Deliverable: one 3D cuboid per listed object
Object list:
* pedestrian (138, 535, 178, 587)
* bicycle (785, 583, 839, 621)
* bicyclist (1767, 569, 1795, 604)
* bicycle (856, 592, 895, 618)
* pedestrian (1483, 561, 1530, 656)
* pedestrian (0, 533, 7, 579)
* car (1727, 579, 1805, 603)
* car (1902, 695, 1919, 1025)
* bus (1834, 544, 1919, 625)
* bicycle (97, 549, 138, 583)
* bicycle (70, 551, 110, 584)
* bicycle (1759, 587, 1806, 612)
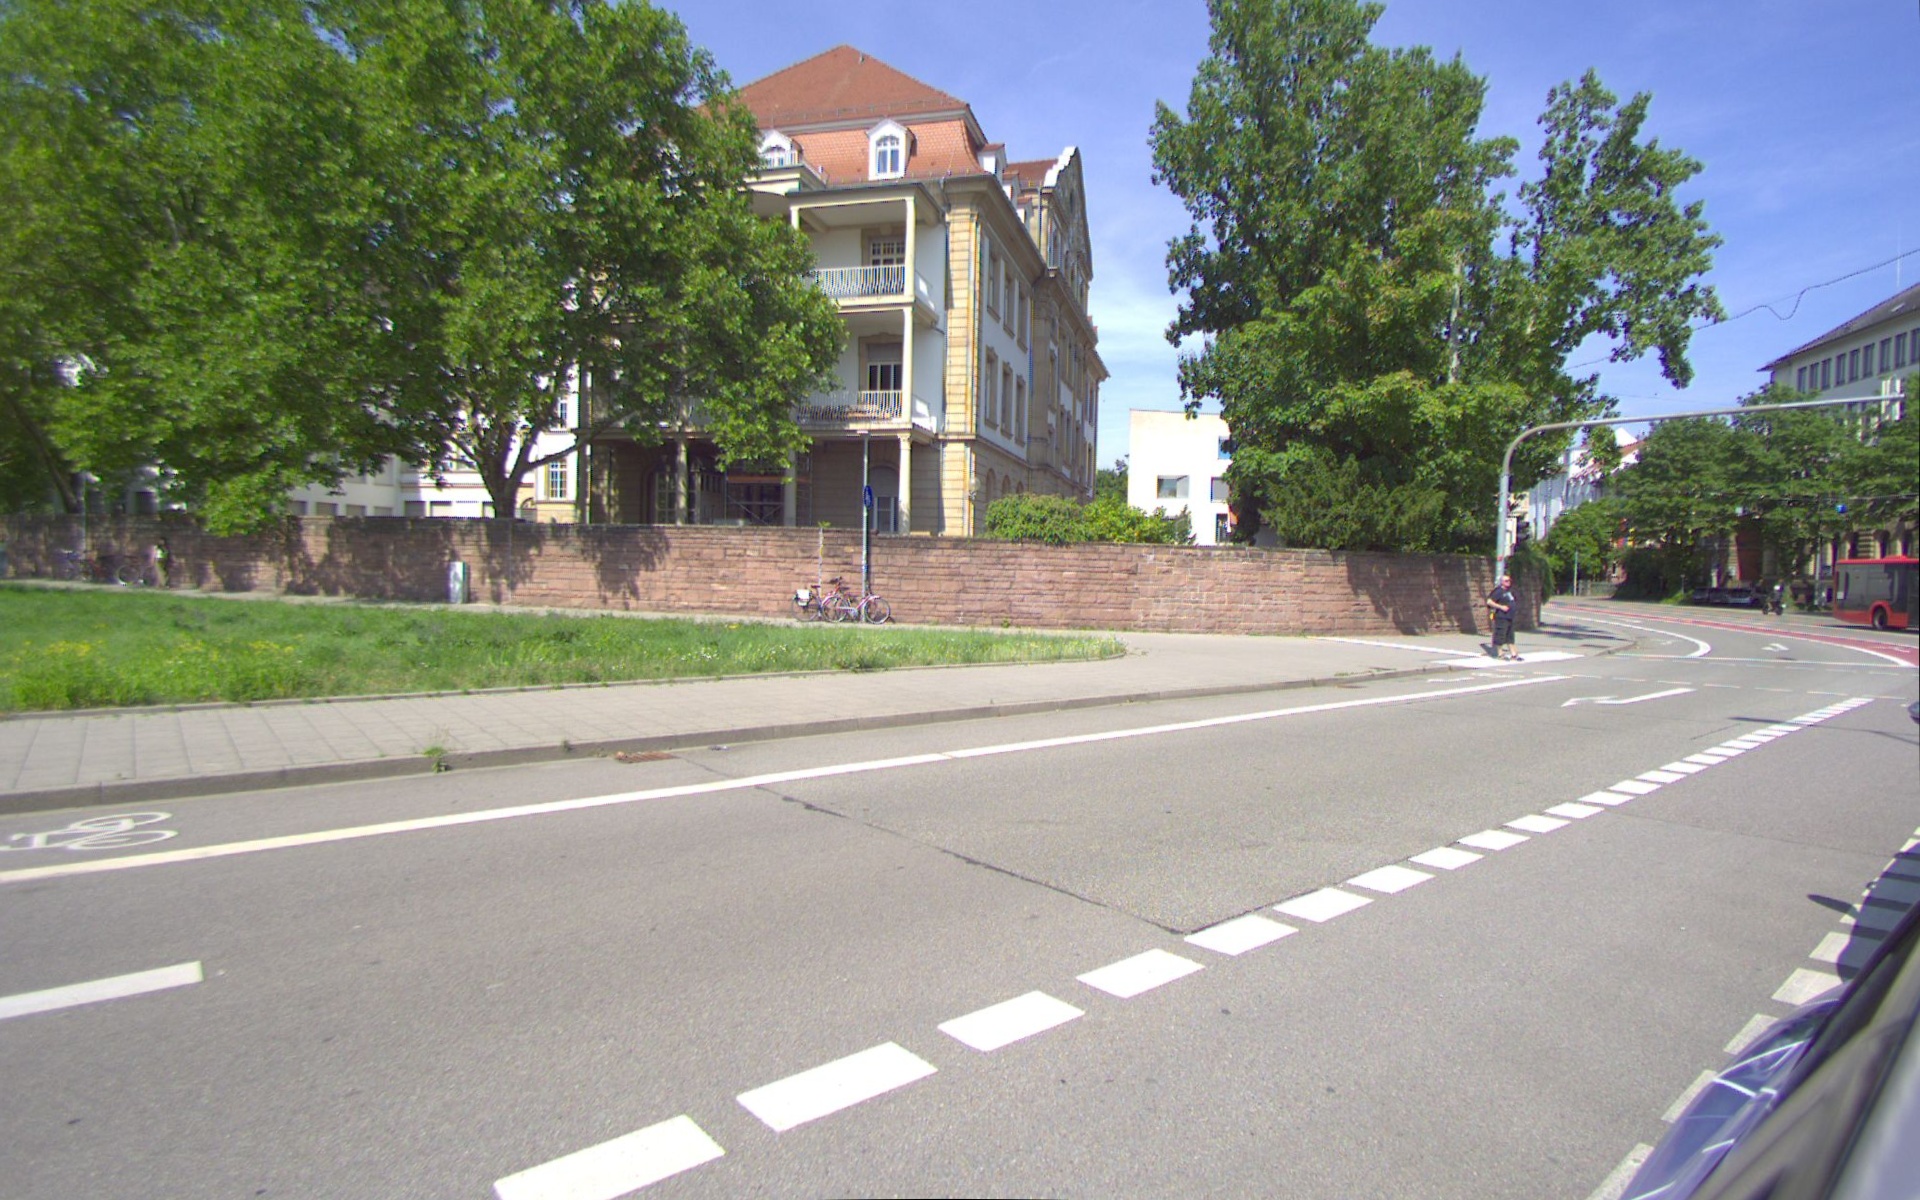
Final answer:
[{"bbox_3d":[-24.420,-1.188,30.824,0.900,1.567,0.501,2,2,13],"label":"pedestrian"},{"bbox_3d":[-3.602,0.044,24.622,1.202,0.894,0.395,1,2,-21],"label":"bicycle"},{"bbox_3d":[48.216,-0.792,59.462,0.847,2.039,1.230,0,0,16],"label":"bicyclist"},{"bbox_3d":[-2.094,0.131,25.037,0.929,0.609,0.275,2,2,-2],"label":"bicycle"},{"bbox_3d":[12.086,0.170,22.371,0.790,2.038,0.608,2,1,35],"label":"pedestrian"},{"bbox_3d":[-33.509,-1.533,35.169,0.700,1.597,0.516,3,3,41],"label":"pedestrian"},{"bbox_3d":[59.571,-0.652,74.877,3.941,1.682,1.993,0,3,14],"label":"car"},{"bbox_3d":[5.296,0.648,3.993,4.077,1.605,1.688,0,3,-39],"label":"car"},{"bbox_3d":[38.221,-0.582,37.666,3.086,3.133,12.365,0,1,13],"label":"bus"},{"bbox_3d":[-27.494,-1.112,33.009,1.432,1.046,0.444,3,2,24],"label":"bicycle"},{"bbox_3d":[-28.913,-1.089,33.632,1.432,1.046,0.444,3,2,24],"label":"bicycle"},{"bbox_3d":[48.102,-0.037,59.237,0.819,1.420,3.452,0,0,16],"label":"bicycle"}]
